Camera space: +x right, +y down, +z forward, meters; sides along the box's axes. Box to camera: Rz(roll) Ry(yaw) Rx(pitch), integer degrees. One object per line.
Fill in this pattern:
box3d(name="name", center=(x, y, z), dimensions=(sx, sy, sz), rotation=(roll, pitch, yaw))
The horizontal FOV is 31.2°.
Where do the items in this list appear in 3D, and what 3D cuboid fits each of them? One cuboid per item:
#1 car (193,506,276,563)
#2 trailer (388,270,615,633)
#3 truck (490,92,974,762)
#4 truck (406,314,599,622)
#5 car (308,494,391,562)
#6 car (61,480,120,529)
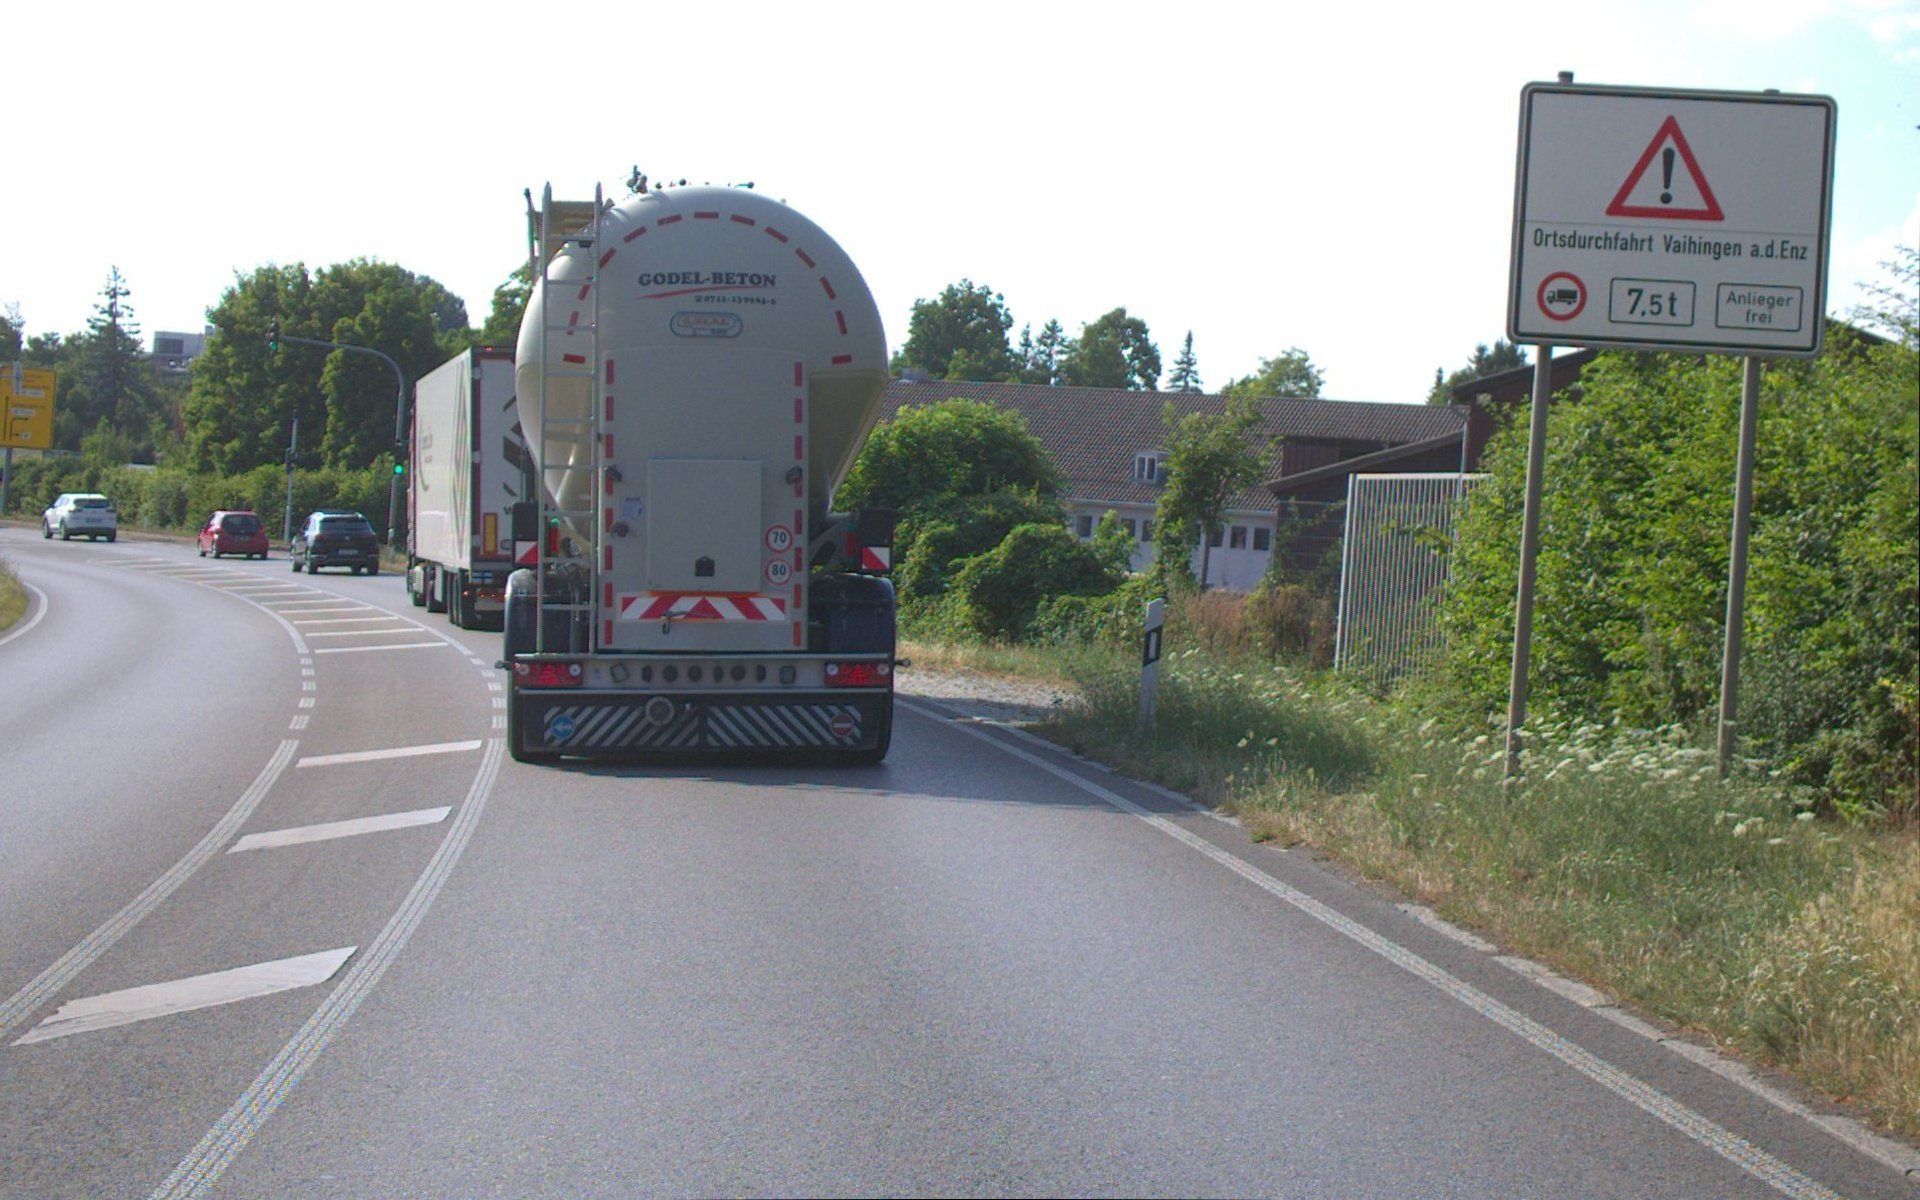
box3d(name="car", center=(-22.133, -1.981, 104.712), dimensions=(2.299, 1.650, 4.416), rotation=(1, 0, -14))
box3d(name="trailer", center=(-6.894, -2.074, 51.968), dimensions=(2.963, 4.865, 10.290), rotation=(1, 0, -7))
box3d(name="truck", center=(-2.173, -1.144, 27.575), dimensions=(2.975, 4.161, 11.665), rotation=(1, 0, -7))
box3d(name="truck", center=(-7.758, -2.150, 58.478), dimensions=(2.962, 4.870, 6.432), rotation=(1, 0, -7))
box3d(name="car", center=(-15.611, -1.819, 87.974), dimensions=(1.993, 1.650, 4.001), rotation=(1, 0, -10))
box3d(name="car", center=(-31.061, -3.400, 122.733), dimensions=(1.840, 1.650, 4.001), rotation=(1, 0, -17))
